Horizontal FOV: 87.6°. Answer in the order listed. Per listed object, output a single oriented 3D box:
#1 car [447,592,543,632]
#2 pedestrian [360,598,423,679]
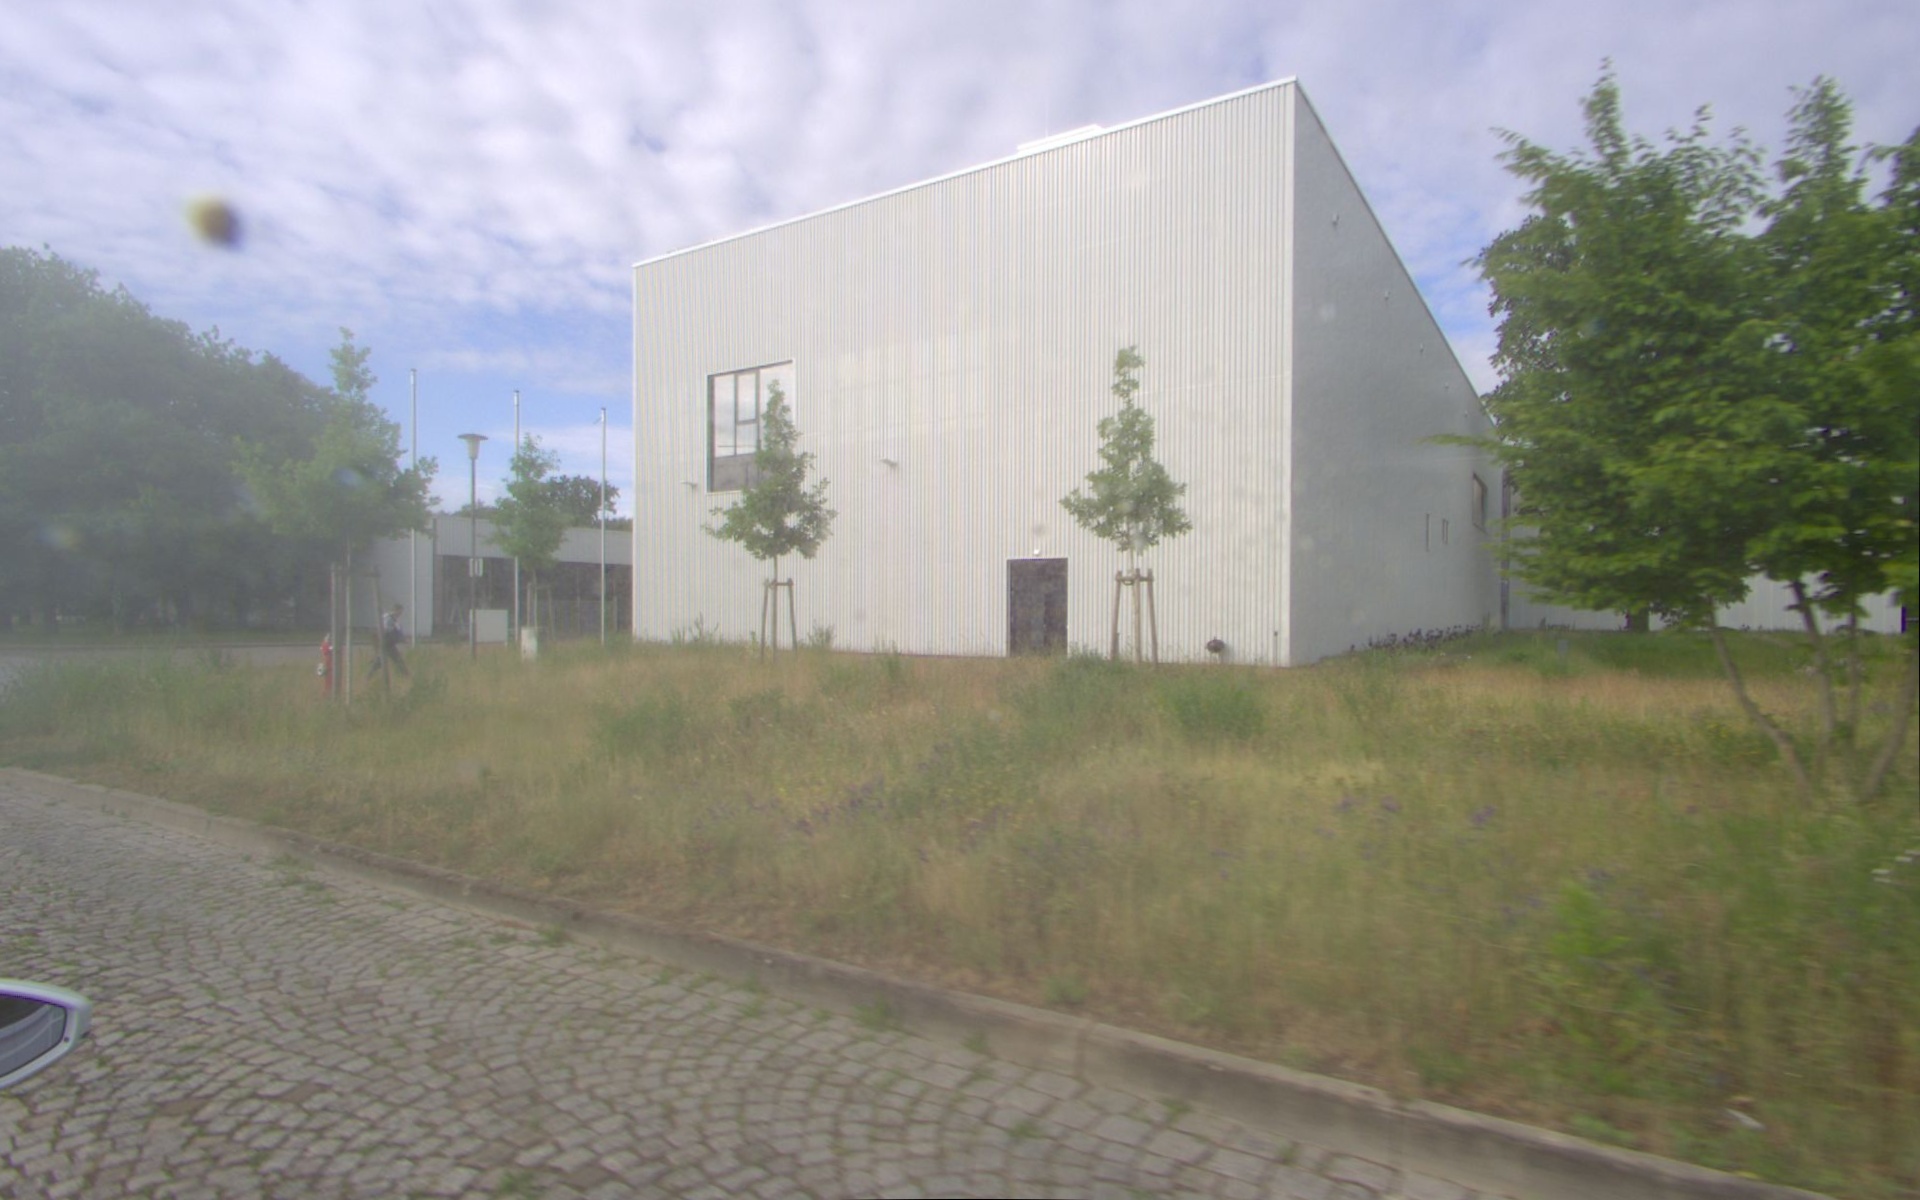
[{"bbox_3d":[-24.813,0.627,53.384,5.260,2.040,2.237,0,0,33],"label":"car"},{"bbox_3d":[-11.456,0.764,20.180,1.064,1.577,1.068,0,0,-33],"label":"pedestrian"}]
